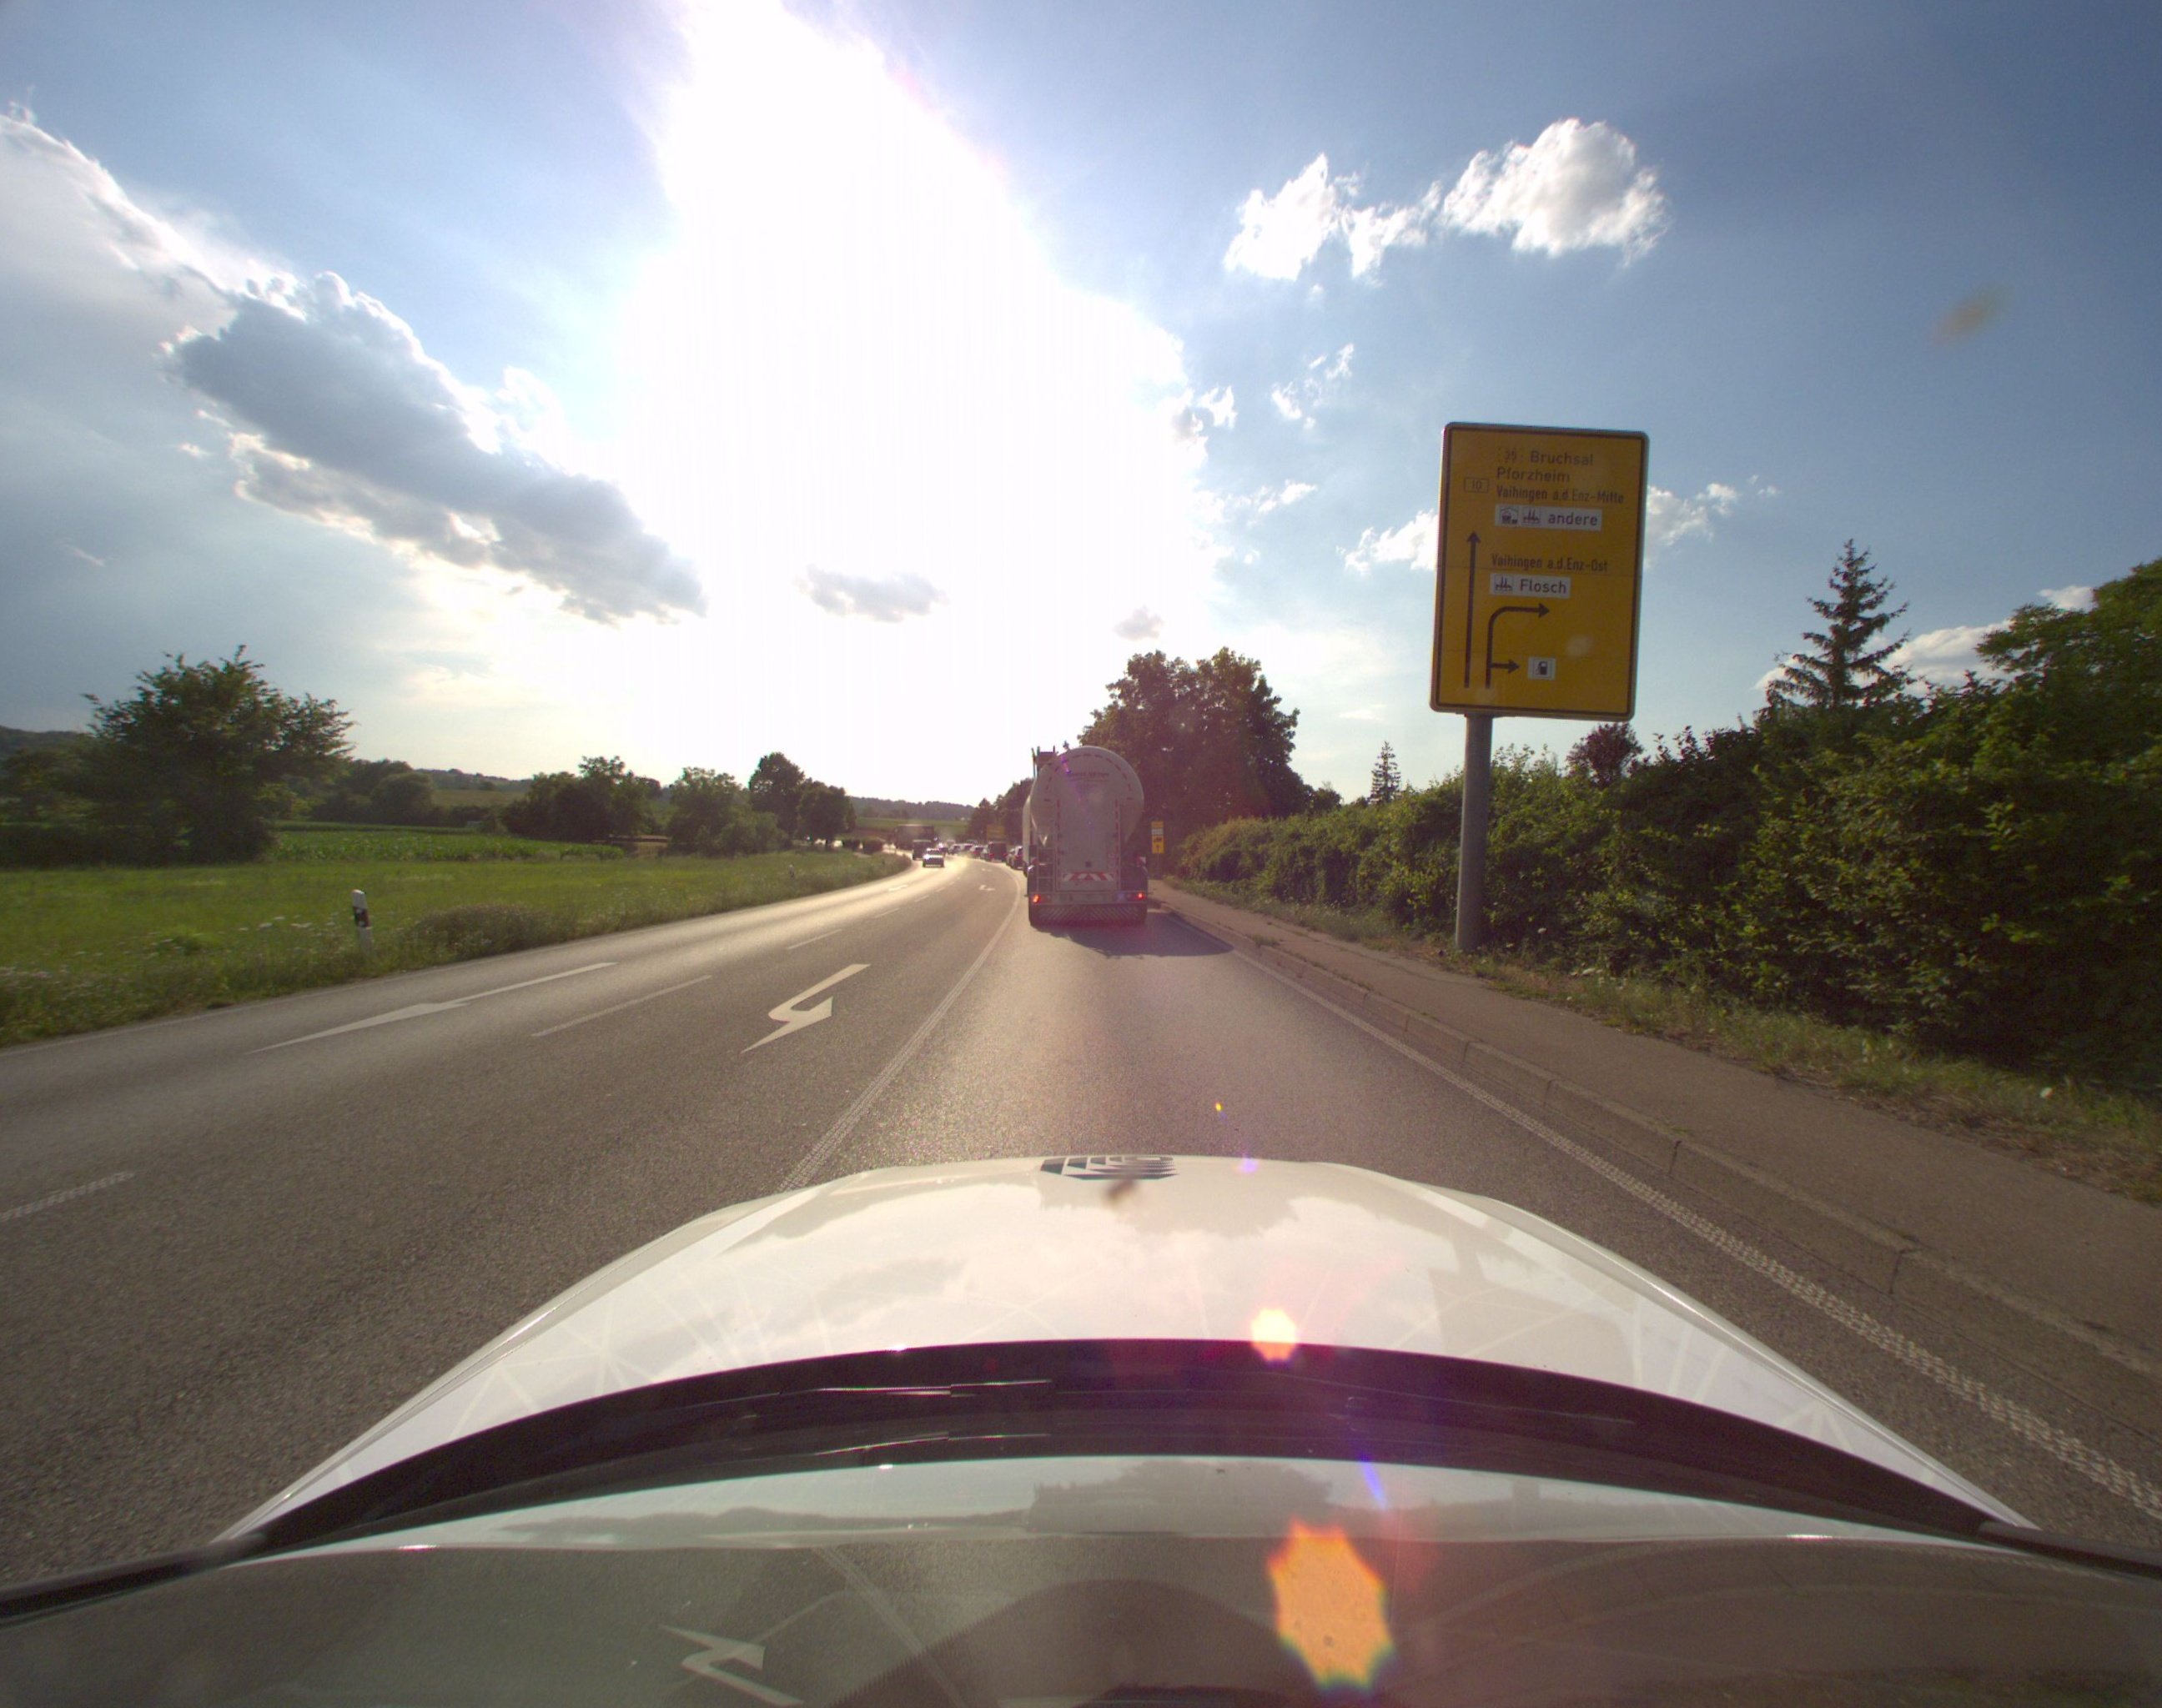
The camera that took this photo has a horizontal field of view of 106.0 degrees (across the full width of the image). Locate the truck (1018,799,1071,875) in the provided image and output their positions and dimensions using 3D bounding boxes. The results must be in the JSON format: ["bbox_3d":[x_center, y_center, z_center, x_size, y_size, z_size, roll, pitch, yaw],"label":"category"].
[{"bbox_3d":[-2.115,-0.993,49.114,2.943,4.303,4.928,1,0,-1],"label":"truck"}]

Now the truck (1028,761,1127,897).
[{"bbox_3d":[-0.170,-0.756,26.060,2.902,4.006,4.057,0,0,-2],"label":"truck"}]

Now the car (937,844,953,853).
[{"bbox_3d":[-19.589,-0.778,116.916,1.774,1.206,3.404,1,0,-19],"label":"car"}]

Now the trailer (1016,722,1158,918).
[{"bbox_3d":[-0.028,-0.709,21.665,2.902,4.006,9.922,0,0,-2],"label":"trailer"}]

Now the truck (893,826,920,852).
[{"bbox_3d":[-30.377,-2.561,141.626,3.392,4.350,5.660,1,0,-25],"label":"truck"}]

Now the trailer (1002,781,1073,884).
[{"bbox_3d":[-1.979,-0.945,41.686,2.946,4.315,14.168,1,0,-1],"label":"trailer"}]

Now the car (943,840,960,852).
[{"bbox_3d":[-22.605,-1.338,141.817,2.003,2.013,3.968,0,1,-25],"label":"car"}]

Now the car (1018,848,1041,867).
[{"bbox_3d":[-3.800,0.237,59.743,1.577,1.340,3.420,1,0,-5],"label":"car"}]

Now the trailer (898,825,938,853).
[{"bbox_3d":[-26.991,-2.476,134.169,3.391,4.350,14.179,1,0,-24],"label":"trailer"}]

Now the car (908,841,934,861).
[{"bbox_3d":[-17.279,-0.320,87.882,2.005,2.136,4.747,0,0,-20],"label":"car"}]

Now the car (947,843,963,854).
[{"bbox_3d":[-17.074,-0.766,110.615,1.585,1.340,3.404,1,0,-19],"label":"car"}]

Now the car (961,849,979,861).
[{"bbox_3d":[-14.039,0.128,102.633,1.585,1.340,3.404,1,0,-19],"label":"car"}]

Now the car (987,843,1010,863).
[{"bbox_3d":[-8.371,-0.090,82.320,1.863,2.013,3.704,0,0,-12],"label":"car"}]

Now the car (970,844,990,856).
[{"bbox_3d":[-12.000,-0.473,96.593,1.585,1.340,3.404,1,0,-19],"label":"car"}]

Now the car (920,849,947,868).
[{"bbox_3d":[-11.737,0.339,65.187,1.704,1.428,4.171,0,0,-4],"label":"car"}]
